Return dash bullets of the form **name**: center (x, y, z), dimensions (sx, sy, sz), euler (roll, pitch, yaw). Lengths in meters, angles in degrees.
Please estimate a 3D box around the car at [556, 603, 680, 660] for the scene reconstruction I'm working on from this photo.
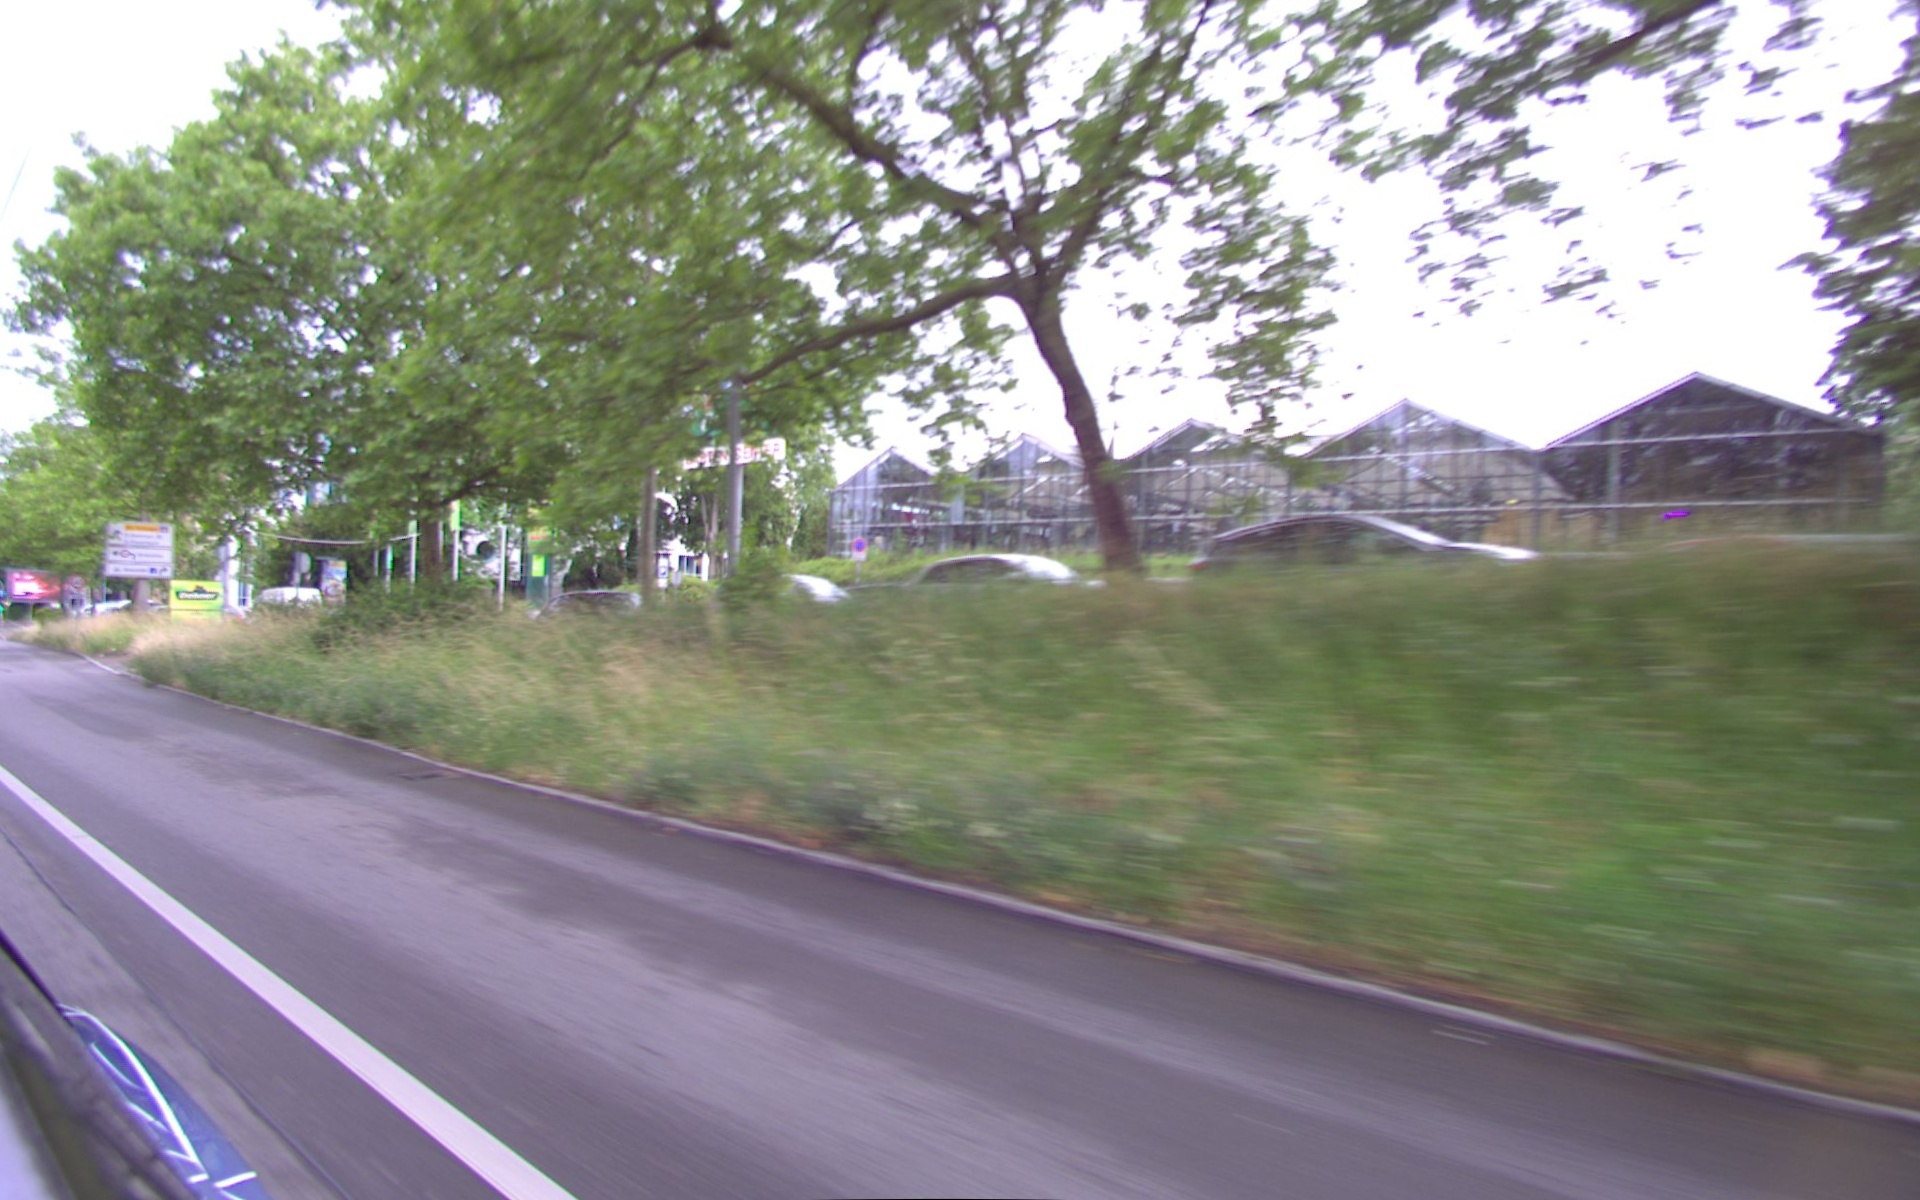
- **car**: center (-7.653, 0.686, 22.604), dimensions (2.750, 1.139, 1.337), euler (1, -1, 39)

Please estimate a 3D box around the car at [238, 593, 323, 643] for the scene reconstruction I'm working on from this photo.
- **car**: center (-35.561, 1.007, 52.926), dimensions (5.647, 2.462, 1.944), euler (-2, -4, 38)

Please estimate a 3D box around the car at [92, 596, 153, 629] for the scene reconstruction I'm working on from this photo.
- **car**: center (-40.519, 0.597, 48.927), dimensions (3.643, 1.463, 1.636), euler (1, -1, 40)

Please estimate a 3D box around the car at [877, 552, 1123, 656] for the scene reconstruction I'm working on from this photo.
- **car**: center (0.567, 0.047, 15.559), dimensions (3.441, 1.415, 1.686), euler (1, -1, 39)

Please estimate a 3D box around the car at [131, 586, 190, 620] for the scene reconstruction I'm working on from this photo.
- **car**: center (-36.027, 0.134, 45.565), dimensions (3.705, 1.405, 1.346), euler (1, -1, 41)

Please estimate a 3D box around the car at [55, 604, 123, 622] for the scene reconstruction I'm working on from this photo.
- **car**: center (-96.585, 1.447, 112.292), dimensions (2.215, 1.815, 5.309), euler (1, -1, 35)

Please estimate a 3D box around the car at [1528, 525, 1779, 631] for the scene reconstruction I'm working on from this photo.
- **car**: center (10.671, -0.319, 15.653), dimensions (3.052, 1.469, 1.419), euler (1, -1, 41)

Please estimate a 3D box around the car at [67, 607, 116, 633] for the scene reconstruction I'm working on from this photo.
- **car**: center (-53.057, 1.252, 61.790), dimensions (4.441, 1.489, 1.629), euler (-3, -4, 41)
